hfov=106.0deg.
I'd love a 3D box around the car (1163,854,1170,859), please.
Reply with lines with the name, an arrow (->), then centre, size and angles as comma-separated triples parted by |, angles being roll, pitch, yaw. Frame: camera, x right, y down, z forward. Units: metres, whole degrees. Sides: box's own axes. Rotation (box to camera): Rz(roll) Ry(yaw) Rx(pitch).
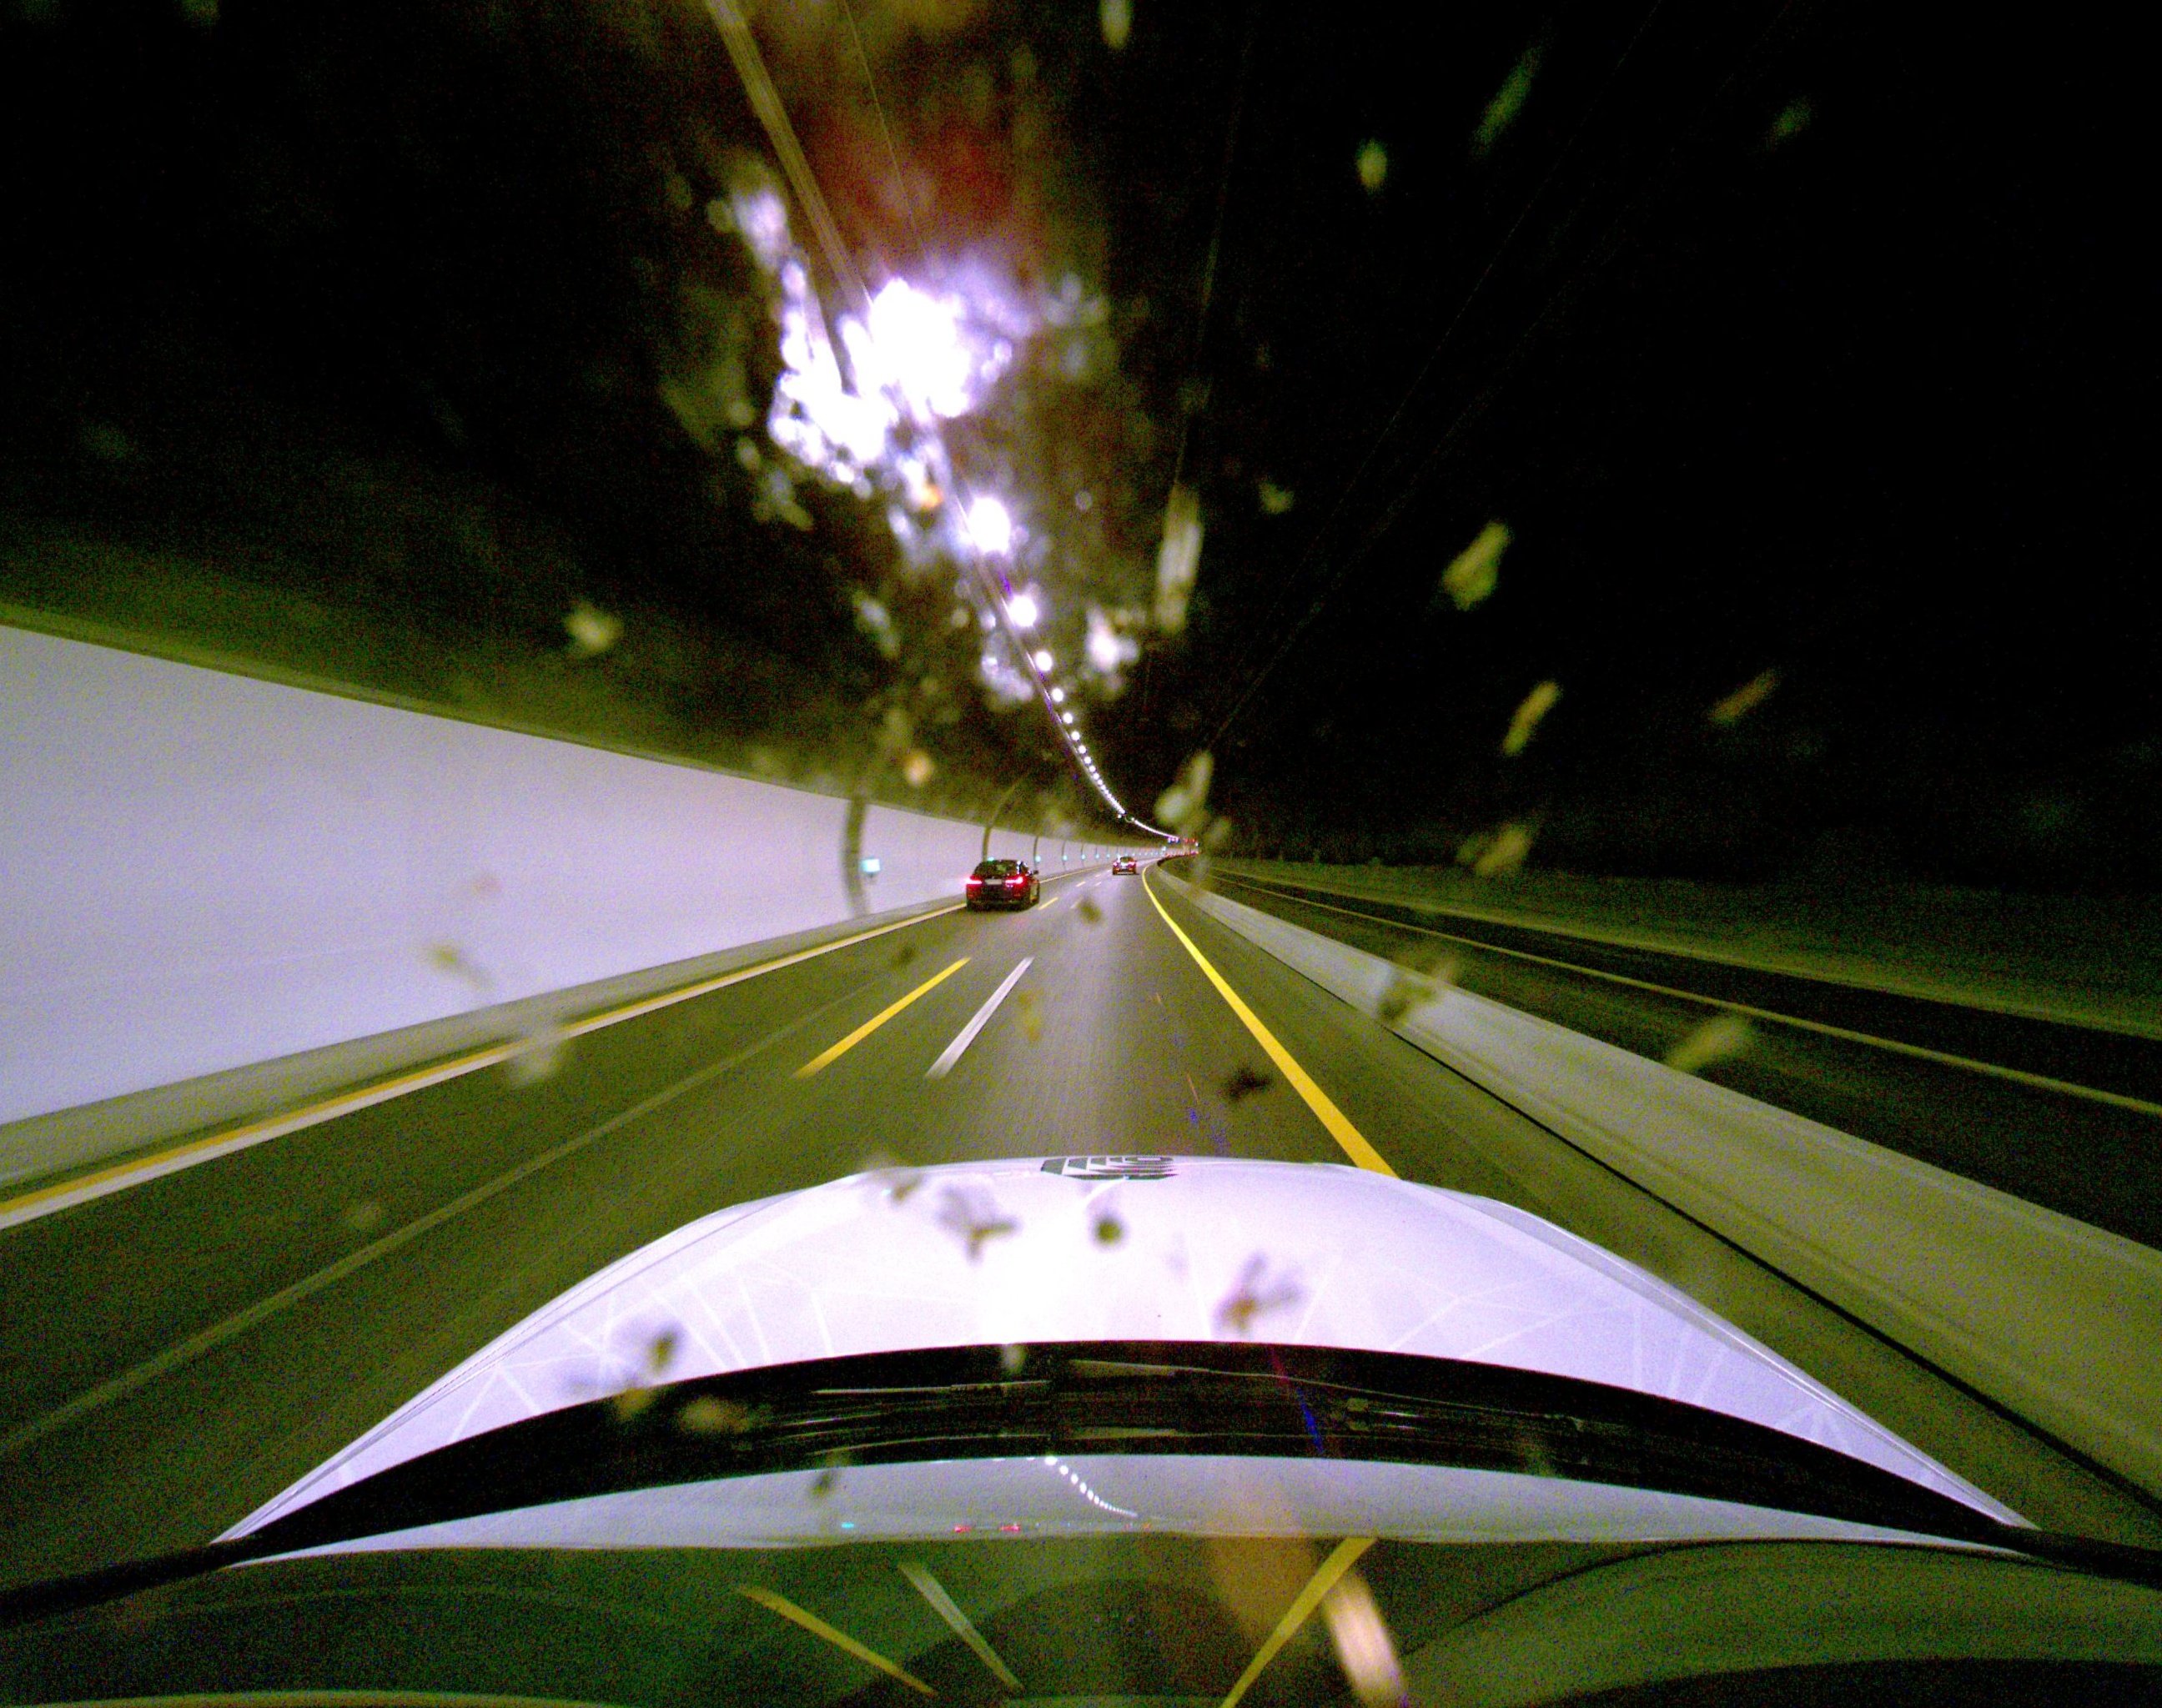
car -> 23.468, 0.642, 223.503 | 1.585, 1.333, 3.760 | -1, 0, 9

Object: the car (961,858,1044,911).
car -> -2.291, 0.859, 25.088 | 1.770, 1.438, 4.887 | -1, 0, 3

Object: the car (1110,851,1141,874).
car -> 3.570, 0.646, 64.440 | 2.129, 1.706, 4.008 | -1, 0, 7
